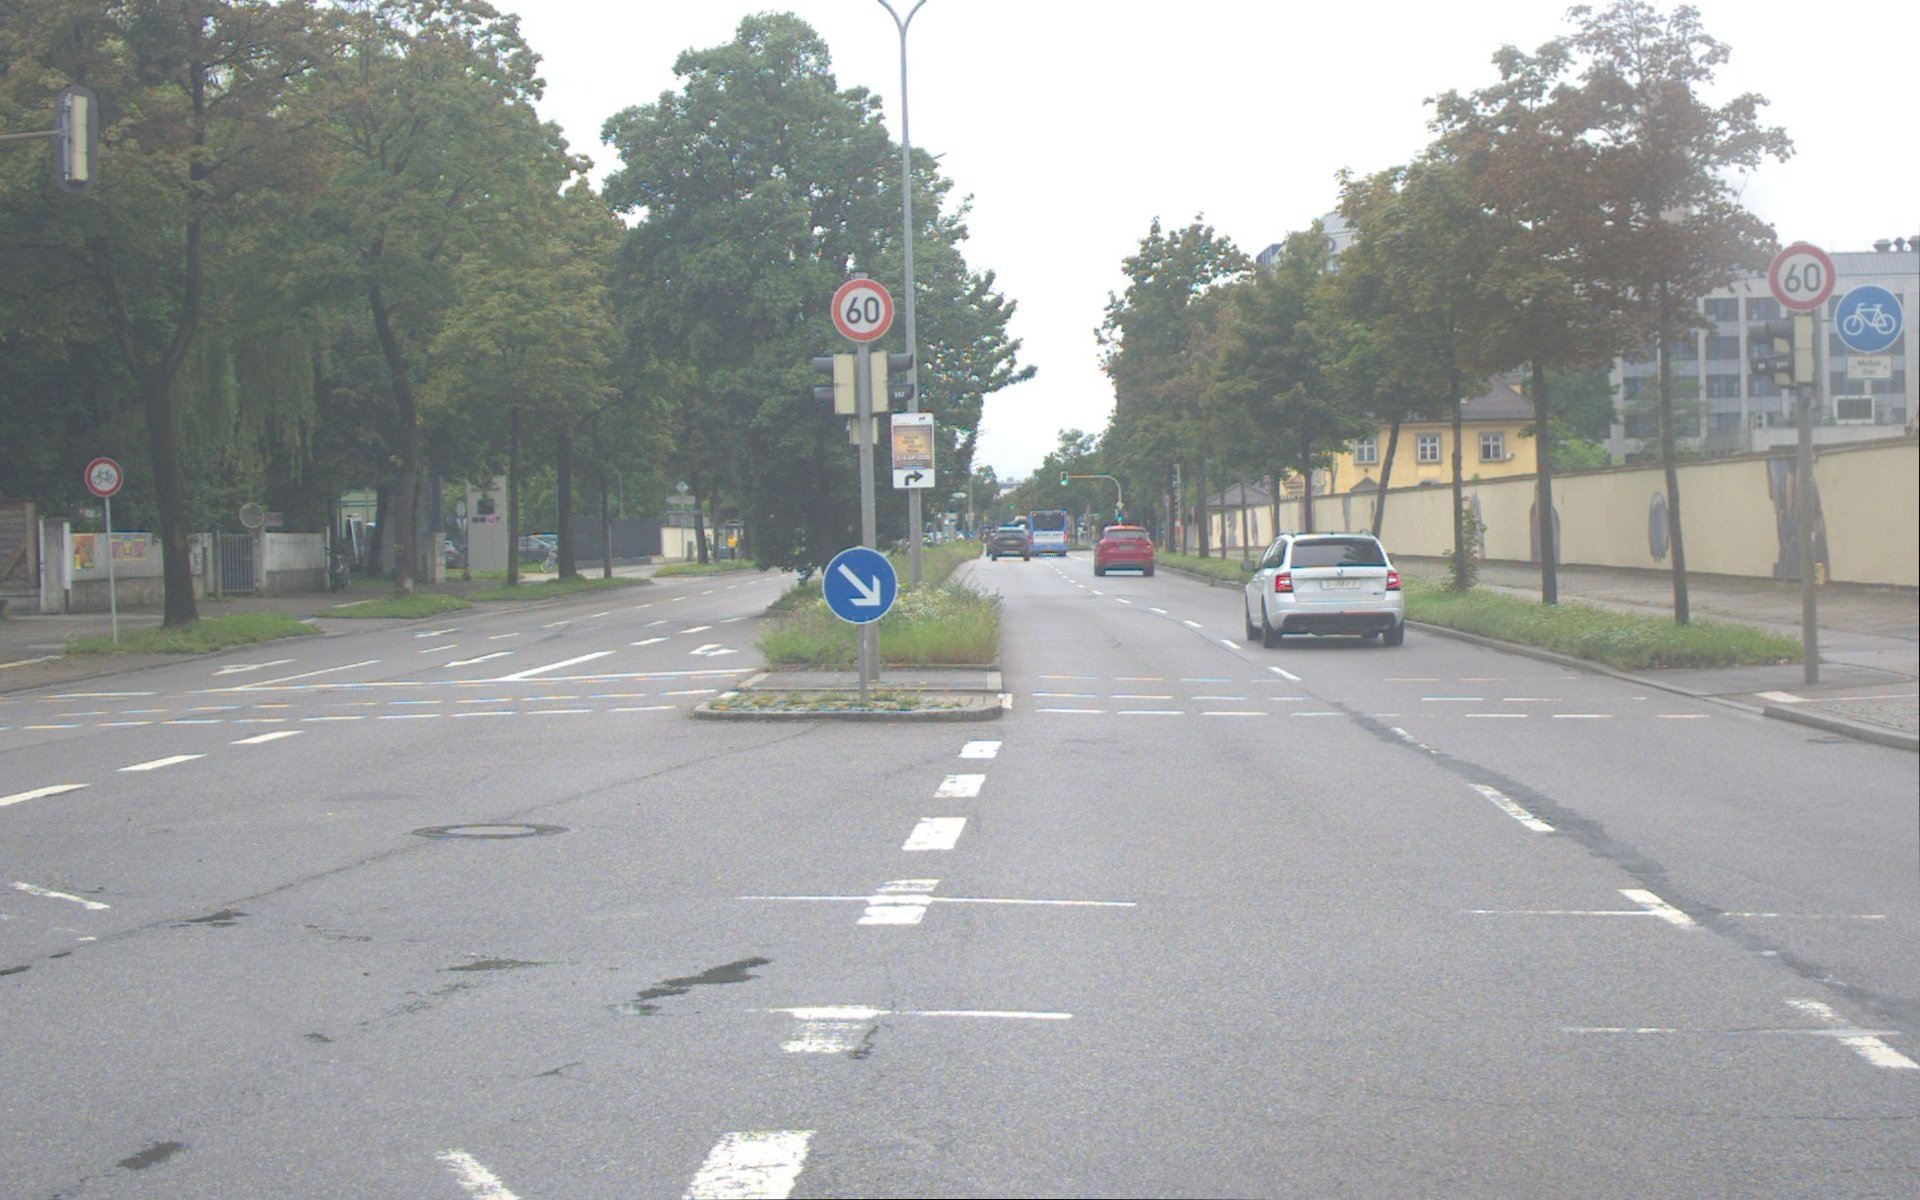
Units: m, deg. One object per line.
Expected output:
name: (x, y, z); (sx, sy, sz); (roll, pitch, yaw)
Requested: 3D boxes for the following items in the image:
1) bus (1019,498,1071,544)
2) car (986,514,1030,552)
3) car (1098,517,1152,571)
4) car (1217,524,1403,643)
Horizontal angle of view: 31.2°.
bus: (5.771, -5.390, 235.313); (3.220, 3.116, 10.346); (0, 1, -1)
car: (2.357, -3.295, 169.424); (2.084, 1.859, 4.386); (0, 1, -1)
car: (5.251, -1.802, 109.658); (1.484, 1.710, 3.551); (0, 1, -1)
car: (4.471, -0.251, 44.491); (1.878, 1.463, 4.502); (0, 1, -1)
